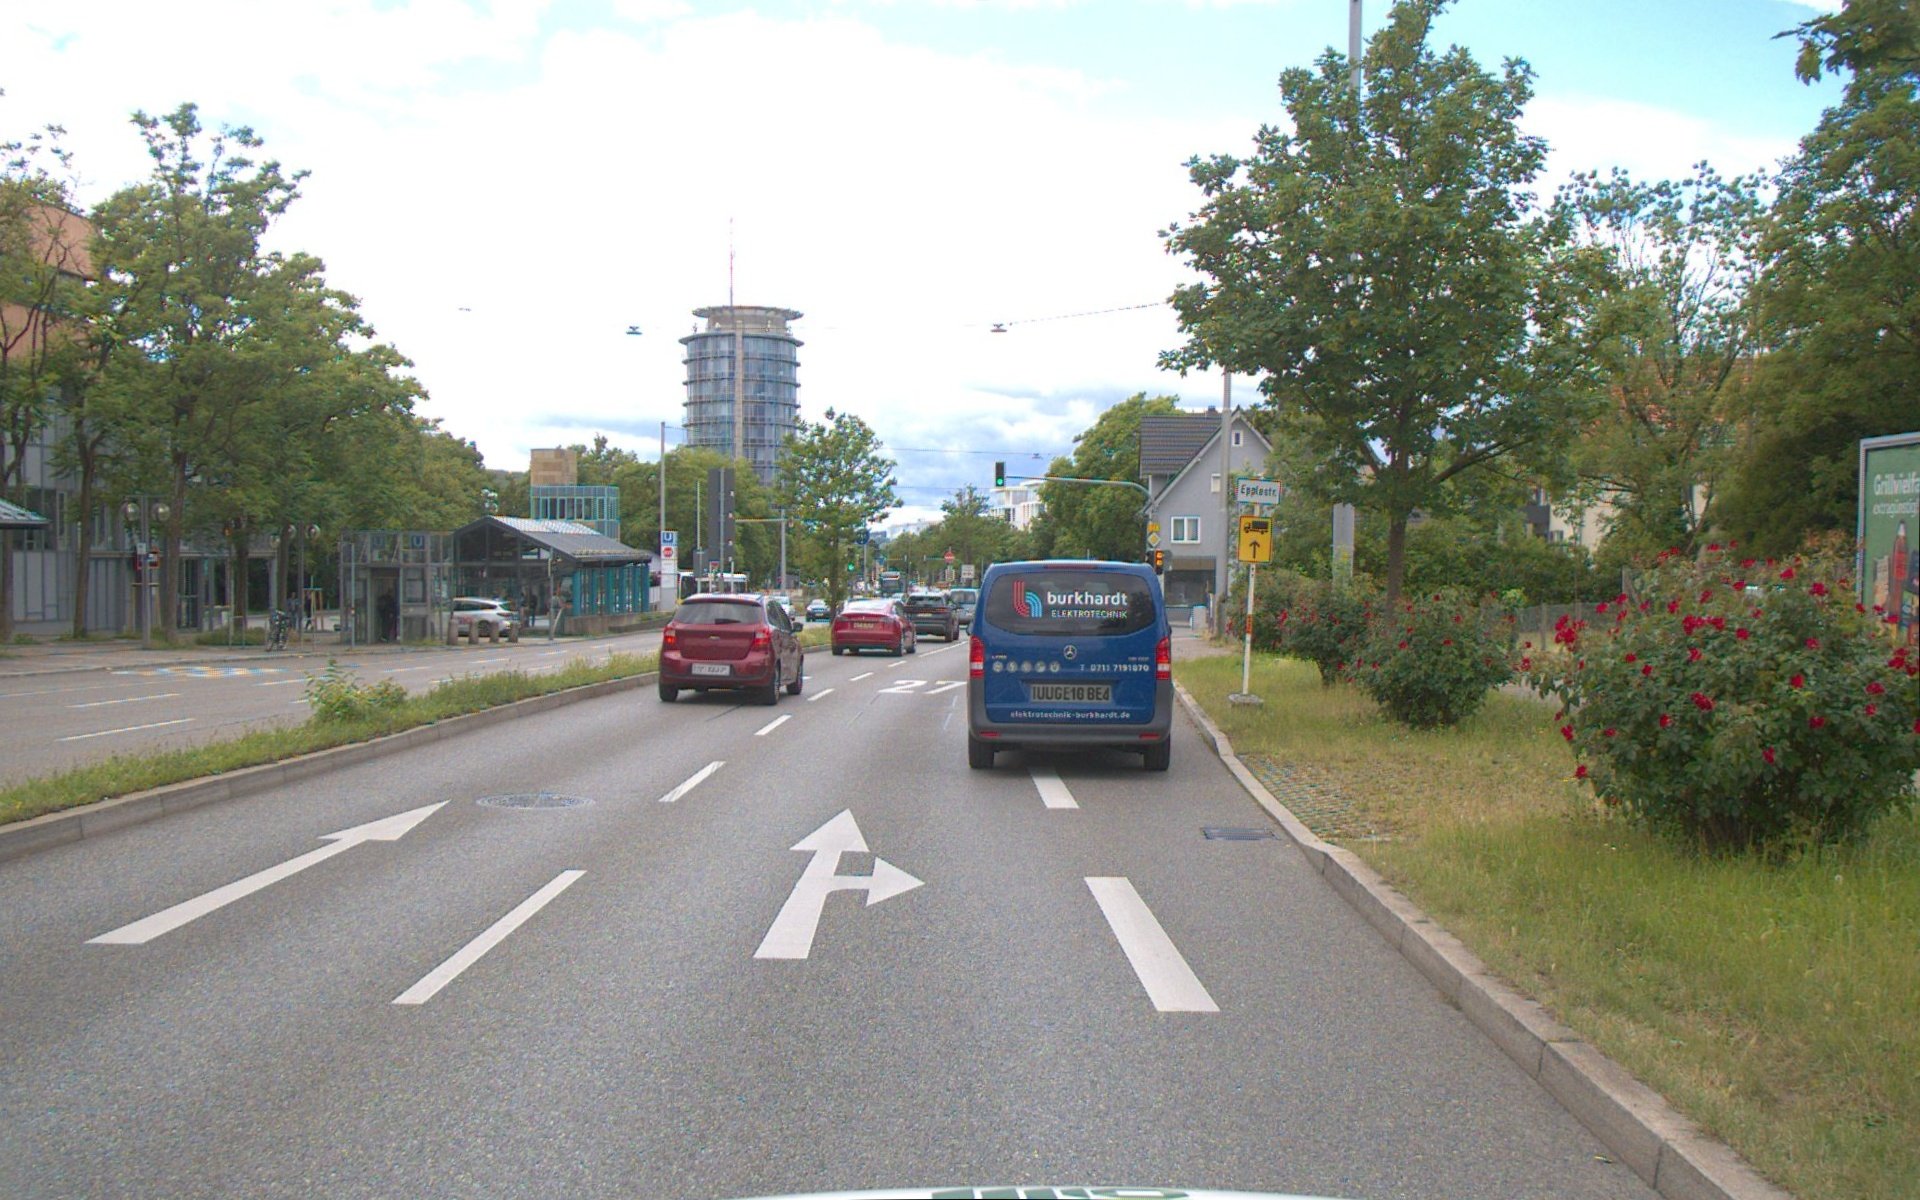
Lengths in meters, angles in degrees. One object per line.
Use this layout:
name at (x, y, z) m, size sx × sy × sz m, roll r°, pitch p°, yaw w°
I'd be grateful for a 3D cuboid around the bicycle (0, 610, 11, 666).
bicycle at (-21.225, 0.781, 34.808) m, size 2.028 × 1.173 × 0.710 m, roll 1°, pitch 0°, yaw -11°

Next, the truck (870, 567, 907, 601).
truck at (-8.210, -1.777, 191.827) m, size 3.298 × 3.792 × 11.283 m, roll 1°, pitch 0°, yaw 2°

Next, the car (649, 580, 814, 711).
car at (-3.270, 0.610, 24.376) m, size 1.710 × 1.753 × 4.001 m, roll 1°, pitch 0°, yaw 2°

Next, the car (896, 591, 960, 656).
car at (-1.137, 0.759, 56.782) m, size 1.954 × 2.048 × 3.997 m, roll 1°, pitch 1°, yaw -4°

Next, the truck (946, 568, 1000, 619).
truck at (0.636, -0.278, 76.072) m, size 1.951 × 2.203 × 5.562 m, roll 2°, pitch 0°, yaw 5°

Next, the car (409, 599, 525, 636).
car at (-18.935, 0.670, 63.668) m, size 3.907 × 1.378 × 1.999 m, roll 0°, pitch 0°, yaw -3°

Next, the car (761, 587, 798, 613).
car at (-11.520, -0.011, 105.765) m, size 1.589 × 1.601 × 4.002 m, roll 0°, pitch 0°, yaw 5°

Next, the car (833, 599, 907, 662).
car at (-2.384, 0.759, 43.113) m, size 1.832 × 1.512 × 3.997 m, roll 1°, pitch 0°, yaw -4°

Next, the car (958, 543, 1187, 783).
car at (1.140, 0.532, 16.322) m, size 1.907 × 2.000 × 4.544 m, roll 1°, pitch 0°, yaw 5°

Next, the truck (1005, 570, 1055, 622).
truck at (3.241, -0.172, 75.647) m, size 1.951 × 2.203 × 5.562 m, roll 2°, pitch 0°, yaw 5°

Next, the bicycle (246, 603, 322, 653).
bicycle at (-18.701, 0.754, 45.798) m, size 1.030 × 1.293 × 2.425 m, roll 2°, pitch 0°, yaw 1°

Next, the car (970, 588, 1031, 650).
car at (1.196, 0.524, 48.495) m, size 1.710 × 1.754 × 4.001 m, roll 0°, pitch 0°, yaw 2°
